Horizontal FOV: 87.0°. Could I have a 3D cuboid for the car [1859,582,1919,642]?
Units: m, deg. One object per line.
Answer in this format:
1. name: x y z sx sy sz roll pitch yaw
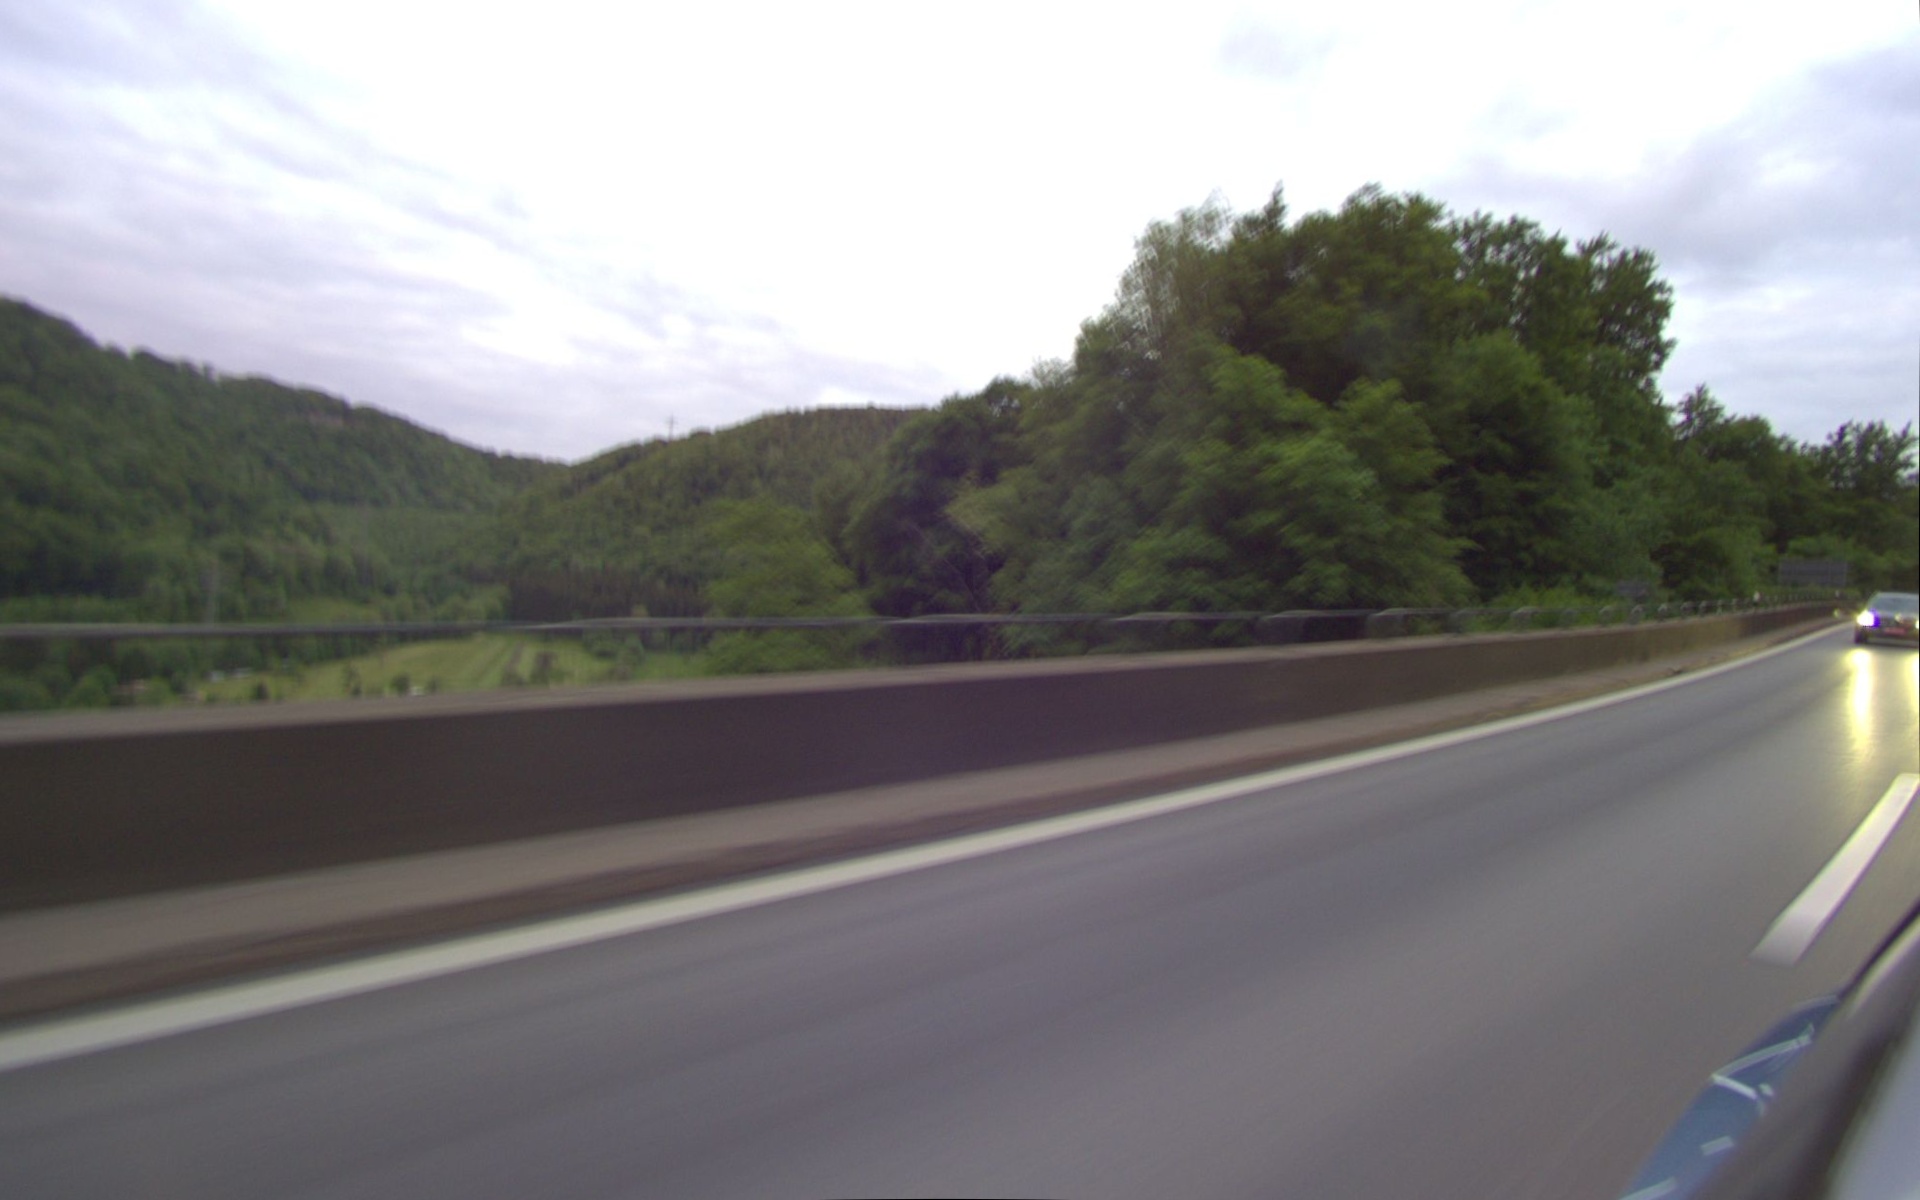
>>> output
1. car: 30.295 0.374 32.323 3.936 1.659 1.996 -2 7 -45
